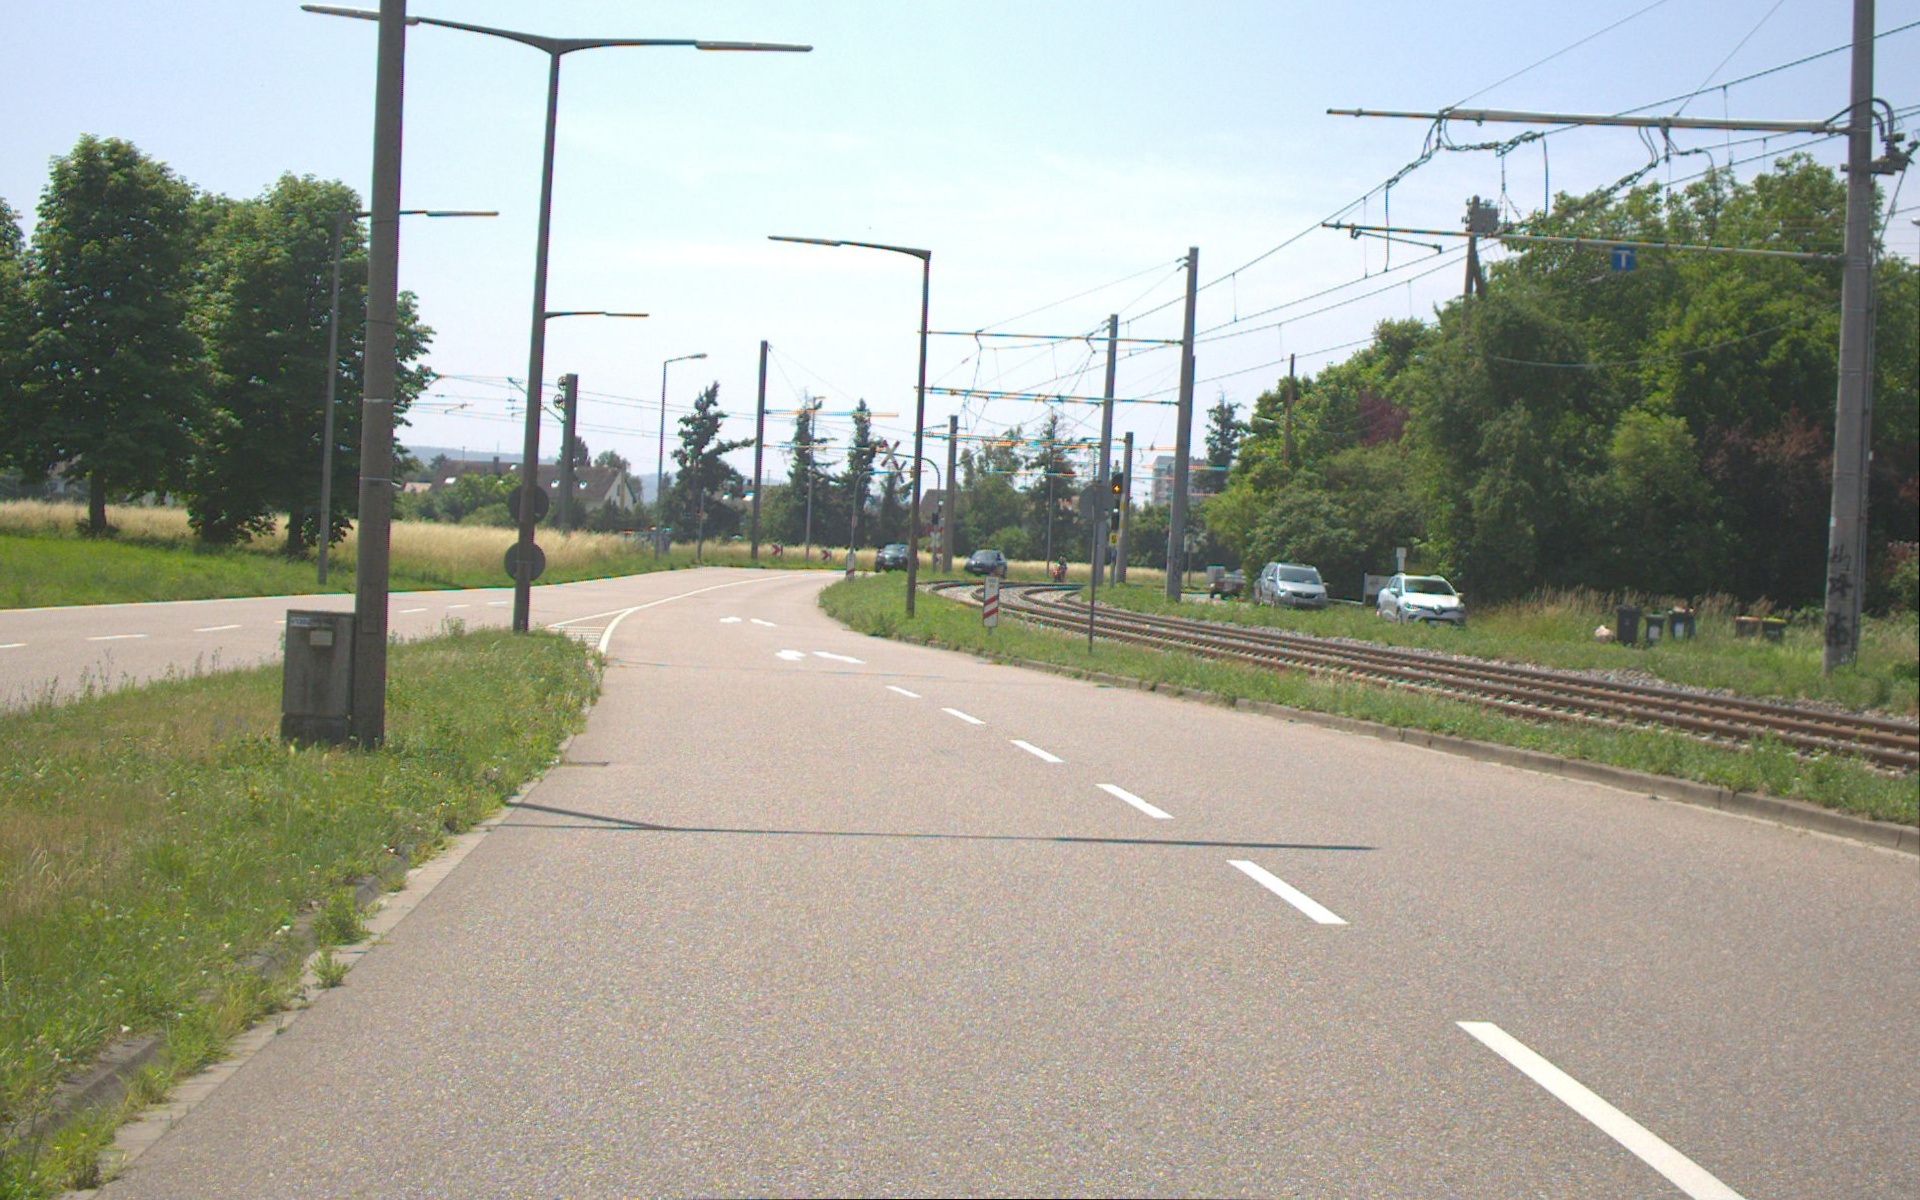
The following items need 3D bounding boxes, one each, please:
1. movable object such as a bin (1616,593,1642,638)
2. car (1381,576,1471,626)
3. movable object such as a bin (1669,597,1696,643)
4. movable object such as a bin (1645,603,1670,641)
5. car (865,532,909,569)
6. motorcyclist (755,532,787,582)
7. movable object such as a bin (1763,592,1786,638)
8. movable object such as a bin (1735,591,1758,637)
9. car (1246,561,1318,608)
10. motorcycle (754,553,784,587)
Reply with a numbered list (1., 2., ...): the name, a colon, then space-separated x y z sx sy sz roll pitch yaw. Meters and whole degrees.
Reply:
1. movable object such as a bin: 16.022 0.378 82.335 0.525 1.046 0.499 3 1 7
2. car: 12.054 0.019 89.083 1.562 1.175 3.080 2 1 -7
3. movable object such as a bin: 17.204 0.474 81.864 0.525 1.046 0.499 3 1 7
4. movable object such as a bin: 16.679 0.527 82.196 0.525 0.861 0.499 3 1 7
5. car: -3.830 -2.574 180.310 1.404 1.765 3.252 4 0 13
6. motorcyclist: -9.178 -2.095 166.911 1.231 2.343 1.106 4 0 3
7. movable object such as a bin: 19.304 0.353 81.458 0.449 1.046 0.499 3 1 10
8. movable object such as a bin: 18.724 0.331 81.842 0.449 1.046 0.499 3 1 10
9. car: 10.522 -0.508 112.530 1.671 1.392 3.651 4 0 -5
10. motorcycle: -9.249 -1.449 166.703 0.989 1.575 3.400 4 0 3
